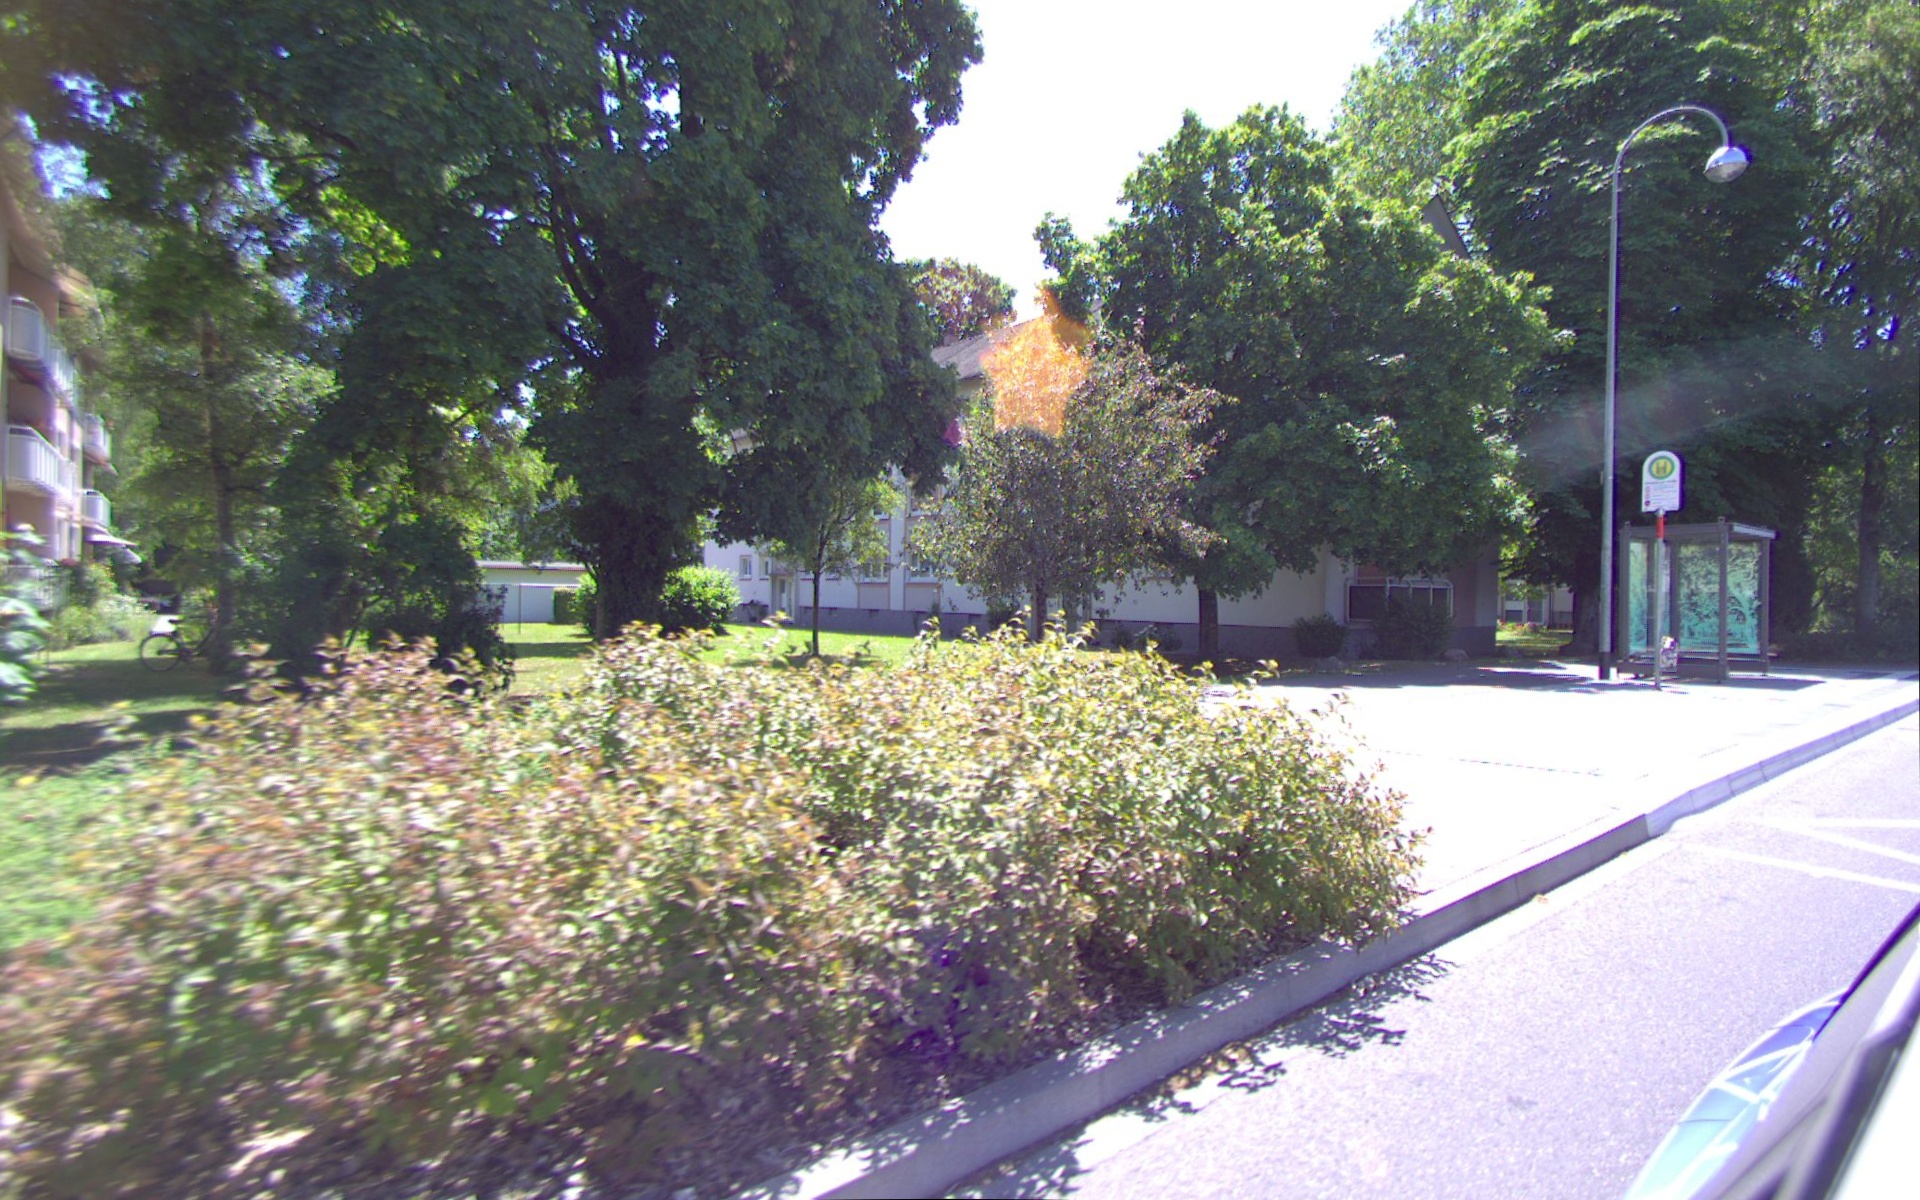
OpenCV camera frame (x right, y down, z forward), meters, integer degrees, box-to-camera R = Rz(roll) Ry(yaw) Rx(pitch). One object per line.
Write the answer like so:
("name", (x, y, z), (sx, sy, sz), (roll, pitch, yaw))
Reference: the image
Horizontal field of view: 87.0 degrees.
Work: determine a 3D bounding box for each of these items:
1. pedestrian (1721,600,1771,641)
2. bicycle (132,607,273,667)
("pedestrian", (26.205, 0.678, 33.742), (1.047, 1.309, 0.943), (0, 0, -26))
("bicycle", (-14.603, 0.679, 19.554), (2.146, 1.079, 0.724), (0, 0, -39))
